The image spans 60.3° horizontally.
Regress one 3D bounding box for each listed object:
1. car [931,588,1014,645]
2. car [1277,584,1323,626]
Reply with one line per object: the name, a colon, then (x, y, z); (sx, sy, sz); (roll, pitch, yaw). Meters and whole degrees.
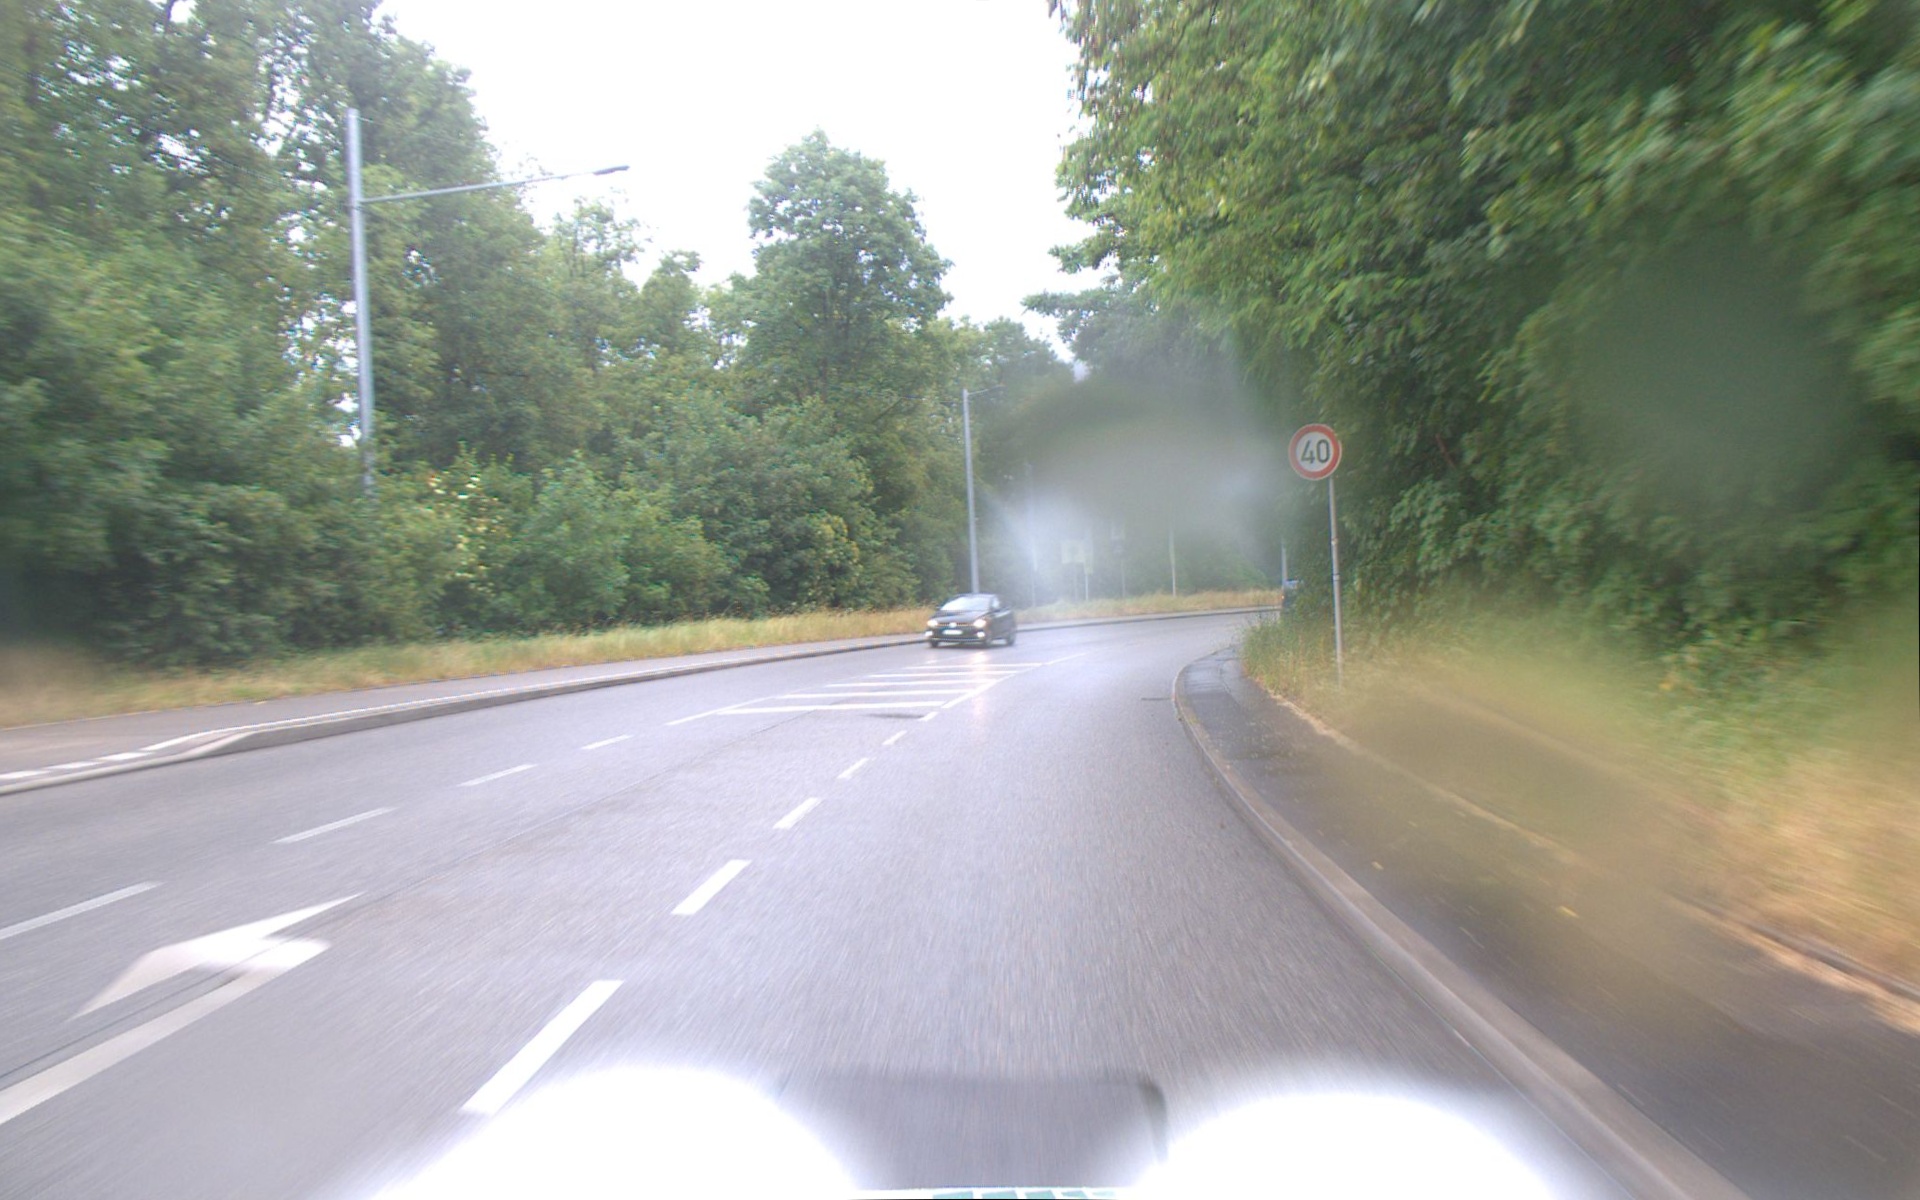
car: (0.387, 0.440, 46.109); (1.560, 1.503, 3.796); (1, 0, 12)
car: (13.820, 0.198, 67.370); (1.632, 1.621, 3.686); (0, 0, 9)
